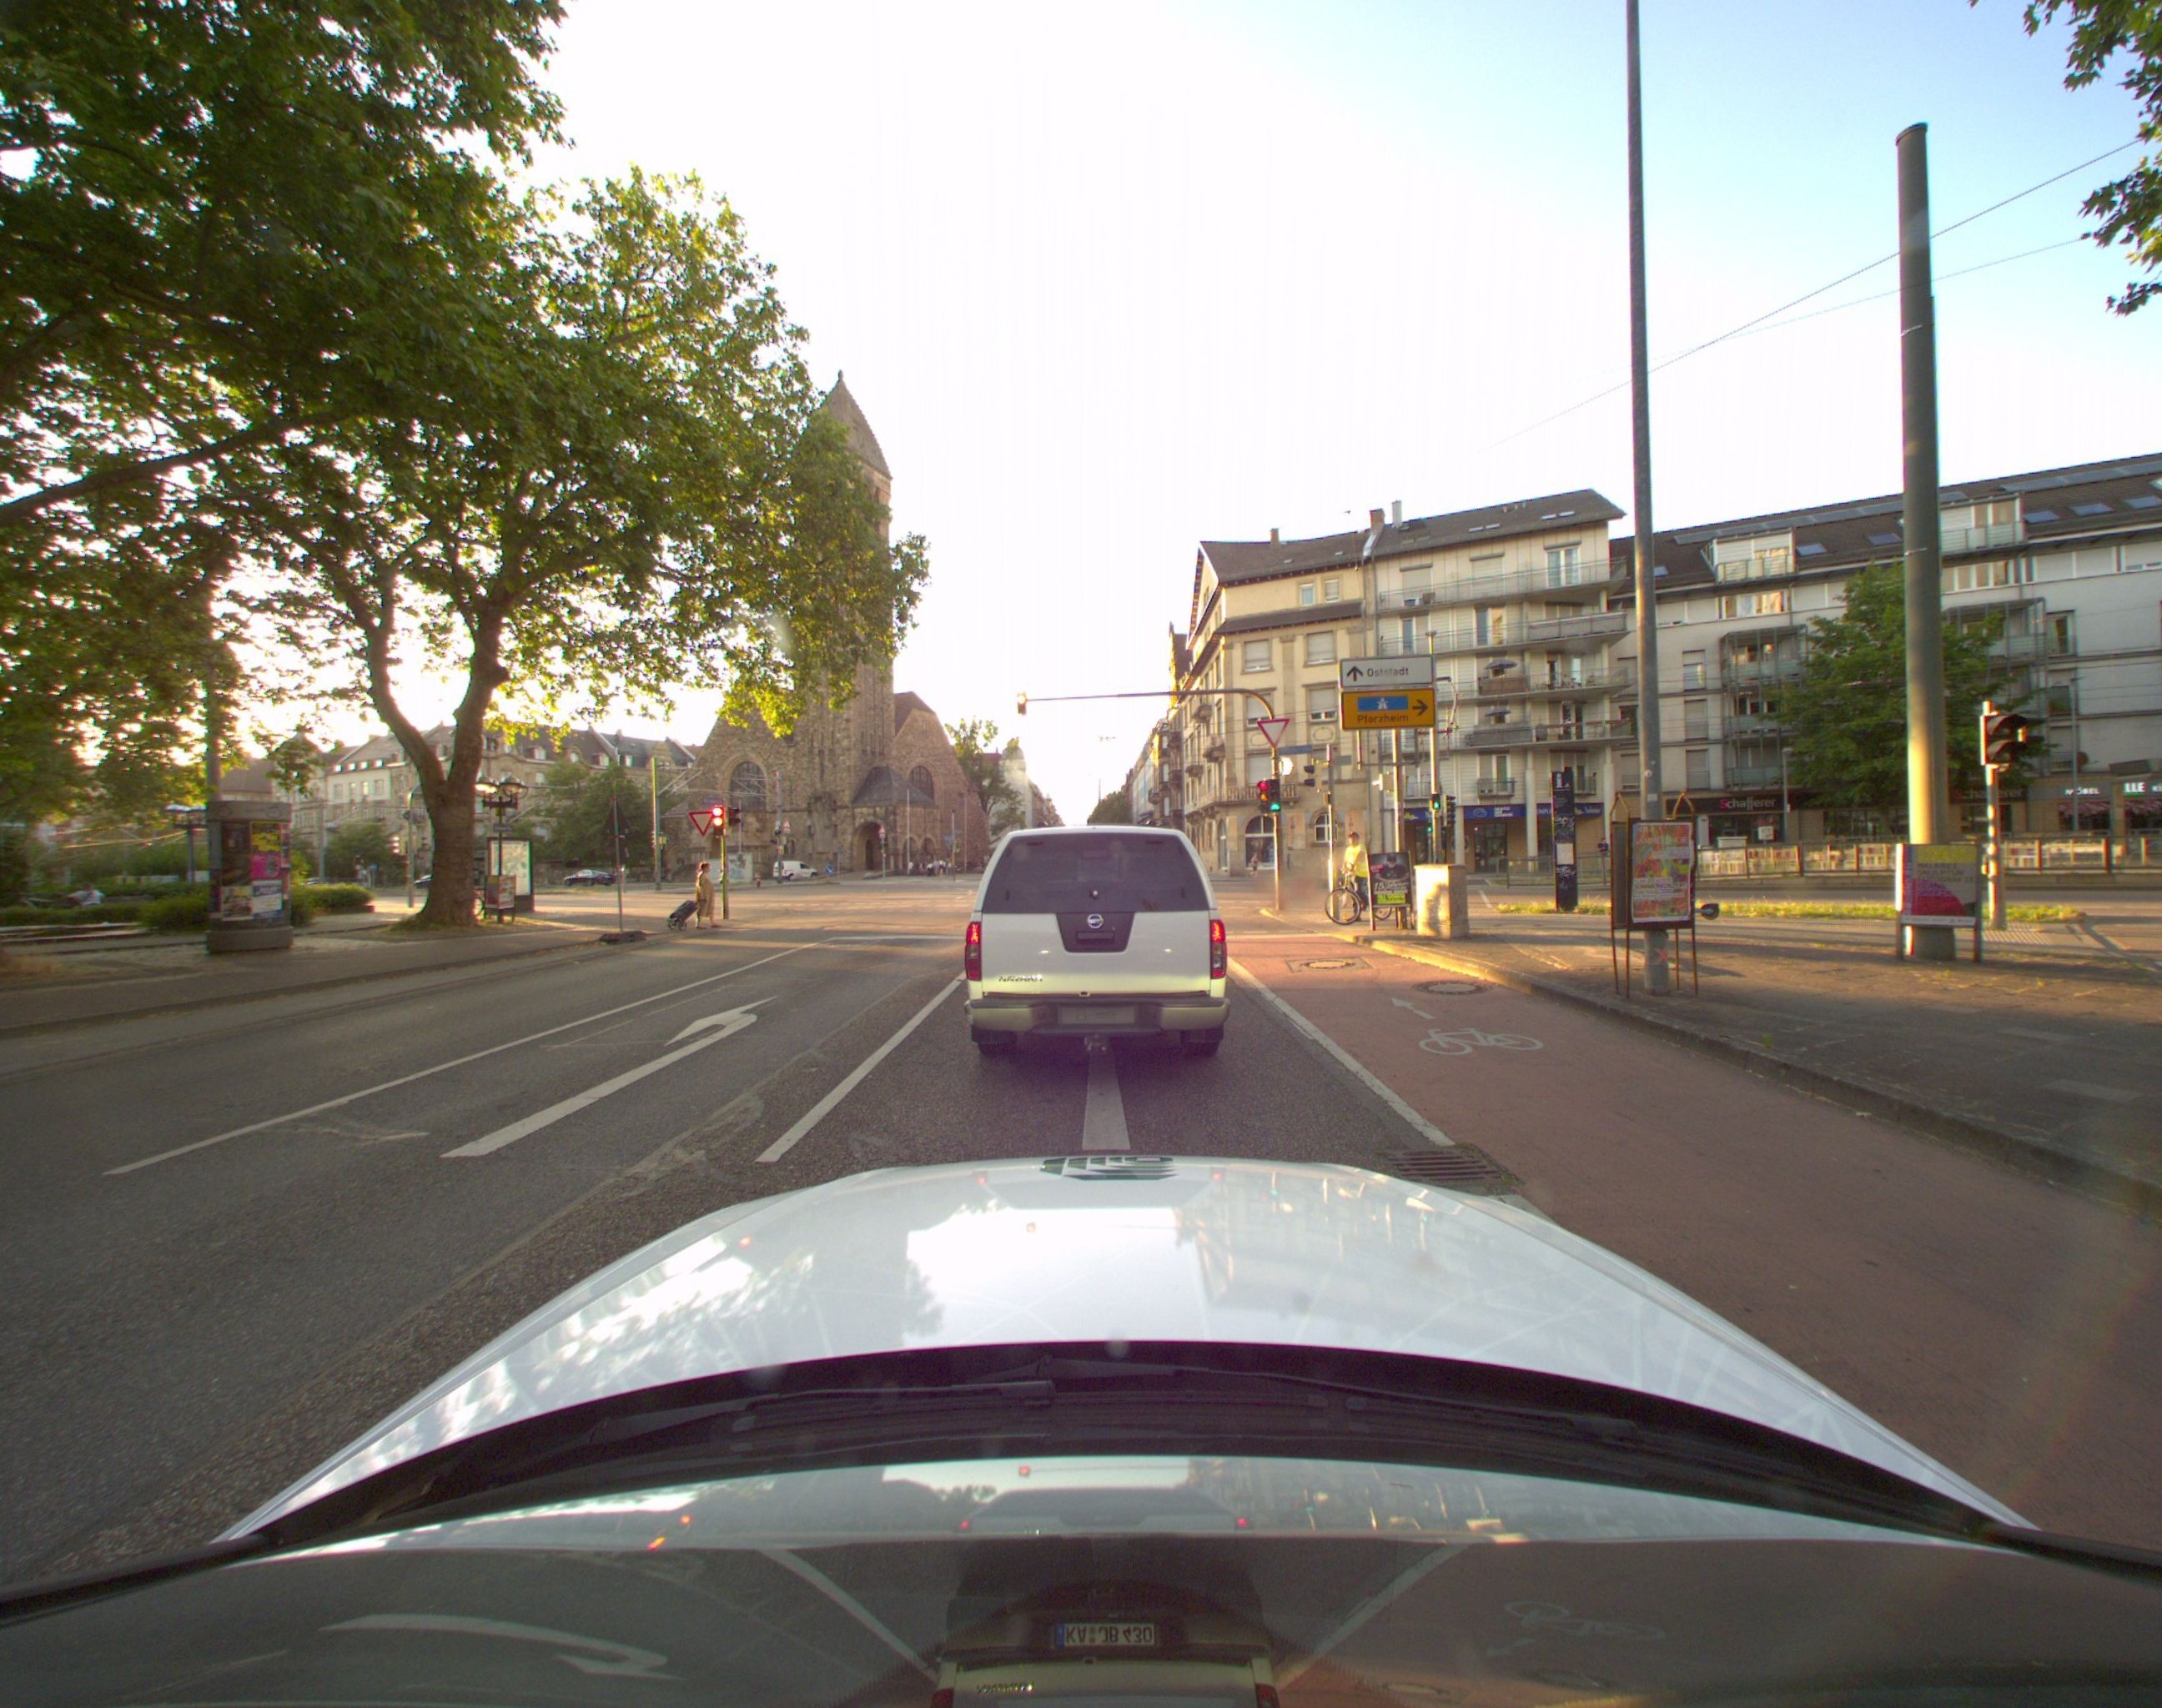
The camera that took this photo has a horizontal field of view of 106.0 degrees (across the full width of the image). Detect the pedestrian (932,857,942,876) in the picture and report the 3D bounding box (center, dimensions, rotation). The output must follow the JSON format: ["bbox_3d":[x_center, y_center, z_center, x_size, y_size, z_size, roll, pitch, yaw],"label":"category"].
[{"bbox_3d":[-13.125,1.145,74.195,0.629,1.698,0.605,-1,-1,12],"label":"pedestrian"}]

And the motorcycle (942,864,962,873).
[{"bbox_3d":[-14.594,1.616,92.222,2.239,0.988,0.707,0,-1,-4],"label":"motorcycle"}]

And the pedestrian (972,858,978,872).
[{"bbox_3d":[-12.746,1.336,98.061,0.642,1.695,0.560,0,-1,-7],"label":"pedestrian"}]

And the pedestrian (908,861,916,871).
[{"bbox_3d":[-15.660,1.093,75.518,0.517,0.960,0.482,-1,-1,21],"label":"pedestrian"}]

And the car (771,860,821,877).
[{"bbox_3d":[-26.343,1.322,75.358,1.698,1.517,4.481,-1,-1,26],"label":"car"}]

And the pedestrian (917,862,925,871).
[{"bbox_3d":[-17.036,1.356,86.598,0.700,0.960,0.557,-1,-1,32],"label":"pedestrian"}]

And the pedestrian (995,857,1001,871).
[{"bbox_3d":[-10.814,1.312,106.281,0.643,1.855,0.559,0,-1,-13],"label":"pedestrian"}]

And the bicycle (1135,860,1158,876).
[{"bbox_3d":[5.044,1.072,62.737,1.721,1.083,0.317,-5,-1,-1],"label":"bicycle"}]

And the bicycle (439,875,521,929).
[{"bbox_3d":[-15.820,1.228,21.504,0.522,1.326,1.998,-1,-1,7],"label":"bicycle"}]

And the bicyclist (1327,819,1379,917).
[{"bbox_3d":[5.213,0.268,15.622,0.701,1.824,0.622,0,-1,-31],"label":"bicyclist"}]

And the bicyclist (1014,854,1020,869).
[{"bbox_3d":[-6.856,0.825,87.415,0.597,1.645,0.963,0,-1,0],"label":"bicyclist"}]

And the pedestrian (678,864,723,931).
[{"bbox_3d":[-9.528,1.067,20.421,0.800,1.628,0.773,0,-1,-3],"label":"pedestrian"}]

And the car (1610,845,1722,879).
[{"bbox_3d":[27.046,0.396,37.842,3.950,1.486,1.860,-1,-1,26],"label":"car"}]

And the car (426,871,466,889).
[{"bbox_3d":[-61.954,2.484,79.403,3.948,1.684,2.013,-1,-1,36],"label":"car"}]

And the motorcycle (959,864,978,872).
[{"bbox_3d":[-13.340,1.665,96.511,2.146,0.988,0.597,-1,-1,21],"label":"motorcycle"}]

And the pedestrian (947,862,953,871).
[{"bbox_3d":[-12.990,1.228,80.746,0.522,0.960,0.477,0,-1,-14],"label":"pedestrian"}]

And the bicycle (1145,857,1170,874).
[{"bbox_3d":[6.149,0.906,65.764,1.849,1.238,0.530,-5,-1,-1],"label":"bicycle"}]

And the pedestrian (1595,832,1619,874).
[{"bbox_3d":[27.414,-0.043,42.465,0.860,2.209,0.825,-1,-1,21],"label":"pedestrian"}]

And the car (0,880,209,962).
[{"bbox_3d":[-26.754,1.742,21.485,1.975,1.781,4.669,-3,1,27],"label":"car"}]

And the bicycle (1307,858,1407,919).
[{"bbox_3d":[5.341,0.638,15.691,2.079,1.109,0.622,0,-1,-31],"label":"bicycle"}]

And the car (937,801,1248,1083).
[{"bbox_3d":[0.133,0.593,7.237,1.986,1.809,4.001,0,-1,2],"label":"car"}]

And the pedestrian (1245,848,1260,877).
[{"bbox_3d":[10.421,0.530,49.404,0.779,1.779,0.546,-1,-1,27],"label":"pedestrian"}]

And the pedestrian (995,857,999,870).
[{"bbox_3d":[-11.038,1.242,107.127,0.559,1.695,0.643,0,-1,-6],"label":"pedestrian"}]

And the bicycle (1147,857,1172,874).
[{"bbox_3d":[6.121,0.898,63.190,1.812,1.238,0.488,-5,-1,-1],"label":"bicycle"}]

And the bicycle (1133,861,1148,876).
[{"bbox_3d":[4.651,1.132,63.629,1.073,1.024,0.317,-5,-1,-1],"label":"bicycle"}]

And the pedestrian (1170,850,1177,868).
[{"bbox_3d":[8.431,0.426,74.402,0.525,1.654,0.547,0,-1,1],"label":"pedestrian"}]

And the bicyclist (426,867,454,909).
[{"bbox_3d":[-29.062,1.521,36.902,0.650,1.827,0.864,1,0,42],"label":"bicyclist"}]

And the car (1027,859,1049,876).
[{"bbox_3d":[-4.375,1.391,83.505,1.988,1.558,4.766,-1,-1,-1],"label":"car"}]

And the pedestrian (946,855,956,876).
[{"bbox_3d":[-11.709,1.022,73.280,0.809,1.901,0.666,0,-1,-1],"label":"pedestrian"}]

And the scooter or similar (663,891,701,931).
[{"bbox_3d":[-9.543,1.358,19.507,0.591,0.898,0.849,0,-1,-9],"label":"scooter or similar"}]

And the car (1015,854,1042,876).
[{"bbox_3d":[-4.599,0.940,71.870,1.987,1.784,4.798,-2,0,0],"label":"car"}]

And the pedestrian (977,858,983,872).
[{"bbox_3d":[-12.450,1.324,100.311,0.640,1.695,0.562,0,-1,1],"label":"pedestrian"}]

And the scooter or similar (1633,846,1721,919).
[{"bbox_3d":[10.629,0.496,14.539,1.219,1.249,0.518,-1,-1,41],"label":"scooter or similar"}]

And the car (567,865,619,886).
[{"bbox_3d":[-42.303,1.891,70.598,3.950,1.618,2.012,-4,-2,27],"label":"car"}]

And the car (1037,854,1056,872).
[{"bbox_3d":[-4.159,1.079,98.707,1.987,2.013,4.950,-2,0,0],"label":"car"}]

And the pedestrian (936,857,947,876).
[{"bbox_3d":[-12.586,1.140,73.352,0.809,1.669,0.859,0,-1,-1],"label":"pedestrian"}]

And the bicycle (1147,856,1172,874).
[{"bbox_3d":[6.228,0.888,64.626,1.812,1.238,0.412,-5,-1,-1],"label":"bicycle"}]

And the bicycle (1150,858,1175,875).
[{"bbox_3d":[6.216,0.928,62.246,1.812,1.150,0.636,-5,-1,-1],"label":"bicycle"}]

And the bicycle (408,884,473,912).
[{"bbox_3d":[-29.071,1.998,36.991,0.651,1.077,2.258,8,6,42],"label":"bicycle"}]

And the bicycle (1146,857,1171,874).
[{"bbox_3d":[6.105,0.913,63.902,1.812,1.238,0.477,-5,-1,-1],"label":"bicycle"}]

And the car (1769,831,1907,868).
[{"bbox_3d":[32.684,-0.165,35.312,3.952,1.486,1.859,-1,-1,21],"label":"car"}]

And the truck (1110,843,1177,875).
[{"bbox_3d":[5.332,0.426,68.838,5.704,2.565,2.260,0,-1,-42],"label":"truck"}]

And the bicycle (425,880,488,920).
[{"bbox_3d":[-18.047,1.310,23.584,0.456,1.093,1.798,0,-1,0],"label":"bicycle"}]

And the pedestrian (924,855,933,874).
[{"bbox_3d":[-13.977,0.941,74.548,0.630,1.698,0.604,-1,-1,8],"label":"pedestrian"}]

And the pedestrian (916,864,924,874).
[{"bbox_3d":[-15.133,1.375,76.398,0.473,0.960,0.526,-1,-1,31],"label":"pedestrian"}]

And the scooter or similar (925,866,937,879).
[{"bbox_3d":[-13.465,1.630,73.281,0.629,1.103,1.083,-1,2,15],"label":"scooter or similar"}]

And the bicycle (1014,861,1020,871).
[{"bbox_3d":[-6.870,1.312,87.478,0.597,1.043,1.945,0,-1,0],"label":"bicycle"}]

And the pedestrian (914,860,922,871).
[{"bbox_3d":[-15.048,1.083,75.228,0.517,0.960,0.482,-1,-1,21],"label":"pedestrian"}]

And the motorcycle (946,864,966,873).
[{"bbox_3d":[-14.434,1.643,94.247,2.239,0.988,0.707,0,-1,-4],"label":"motorcycle"}]
